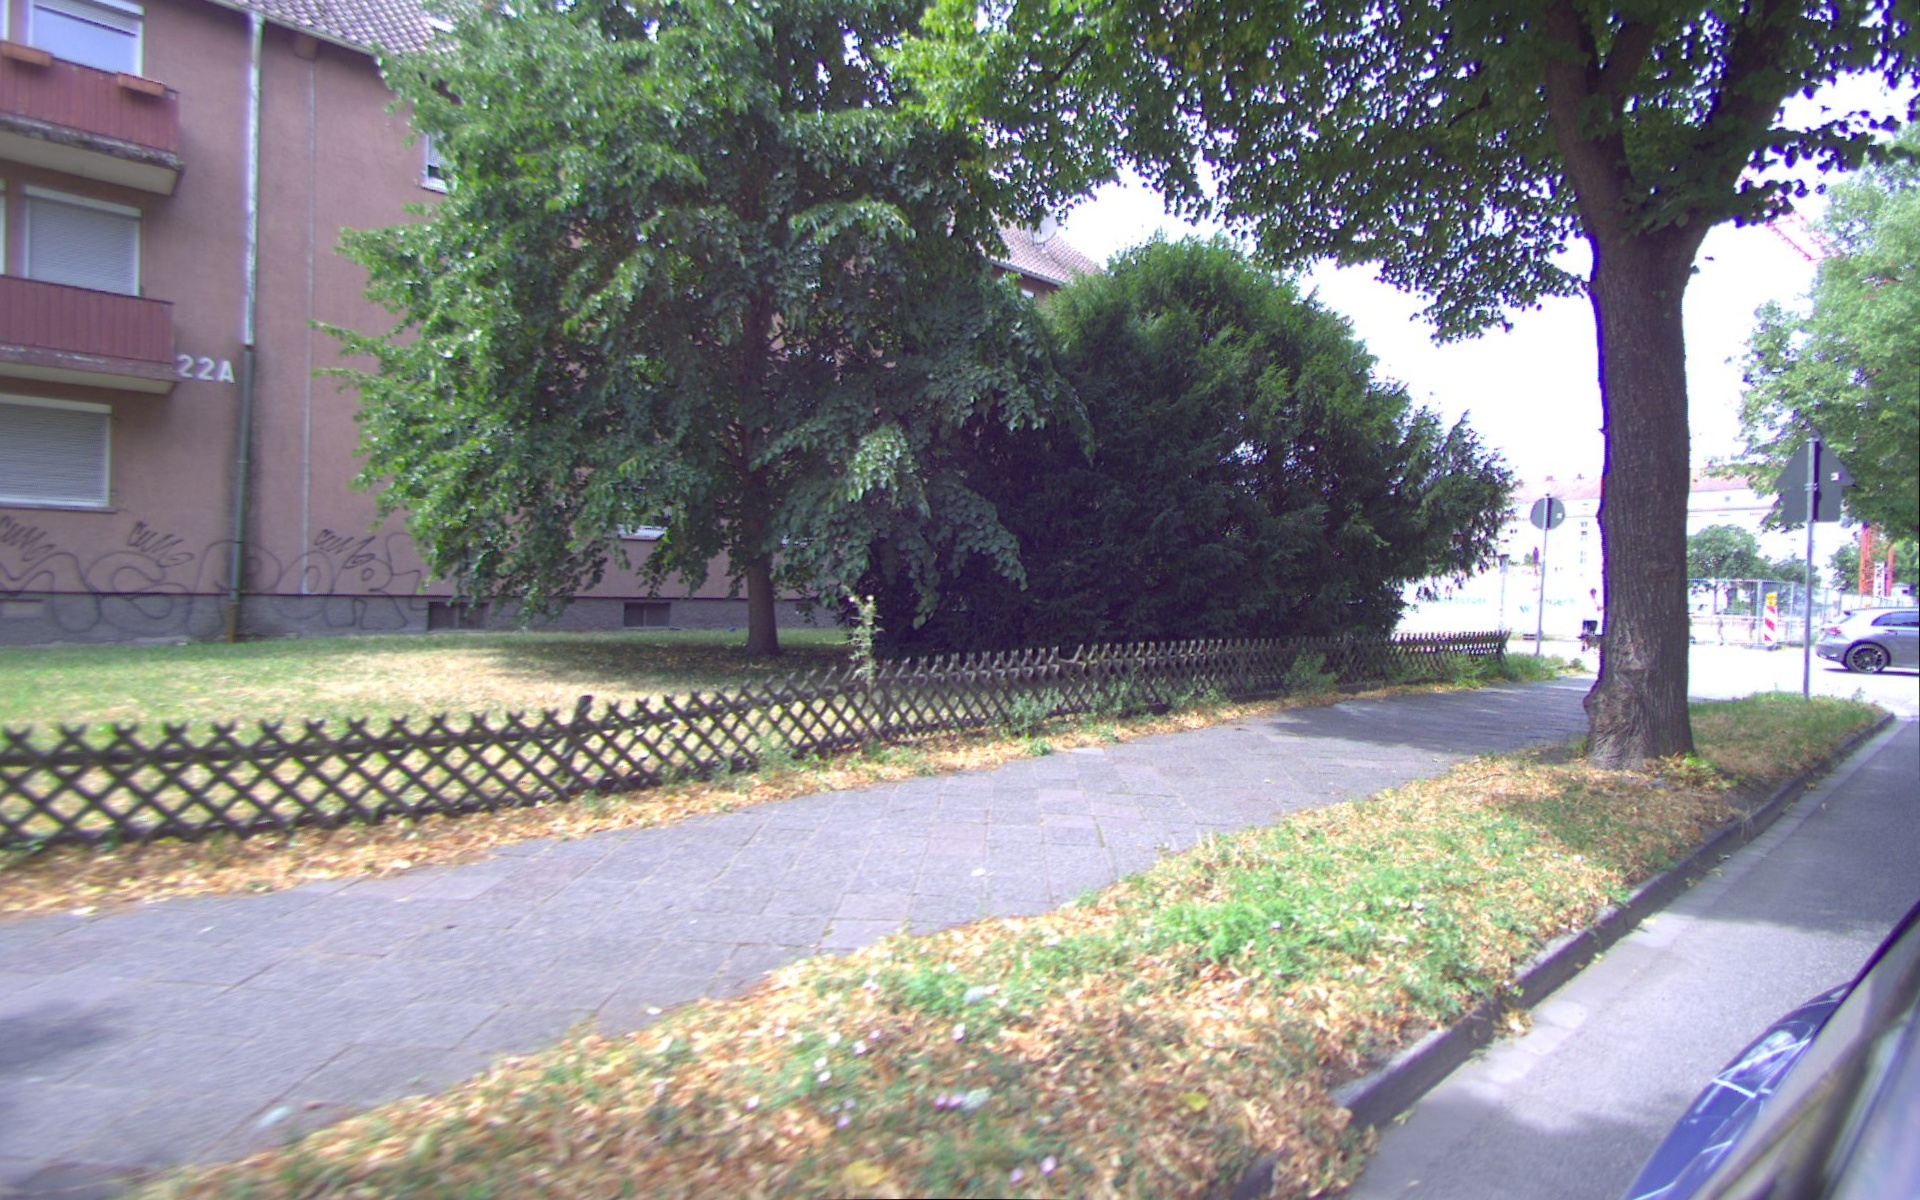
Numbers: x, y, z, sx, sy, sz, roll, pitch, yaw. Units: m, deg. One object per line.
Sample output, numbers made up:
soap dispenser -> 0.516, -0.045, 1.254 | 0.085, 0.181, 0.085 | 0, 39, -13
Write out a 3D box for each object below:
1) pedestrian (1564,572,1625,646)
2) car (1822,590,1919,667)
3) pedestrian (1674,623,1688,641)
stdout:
pedestrian -> 16.352, 0.217, 26.092 | 0.870, 1.836, 0.887 | 2, 2, -23
car -> 21.056, 0.623, 21.205 | 4.360, 1.459, 1.986 | 2, 4, 36
pedestrian -> 71.542, 3.150, 100.439 | 0.706, 1.743, 0.846 | 2, 2, -5
